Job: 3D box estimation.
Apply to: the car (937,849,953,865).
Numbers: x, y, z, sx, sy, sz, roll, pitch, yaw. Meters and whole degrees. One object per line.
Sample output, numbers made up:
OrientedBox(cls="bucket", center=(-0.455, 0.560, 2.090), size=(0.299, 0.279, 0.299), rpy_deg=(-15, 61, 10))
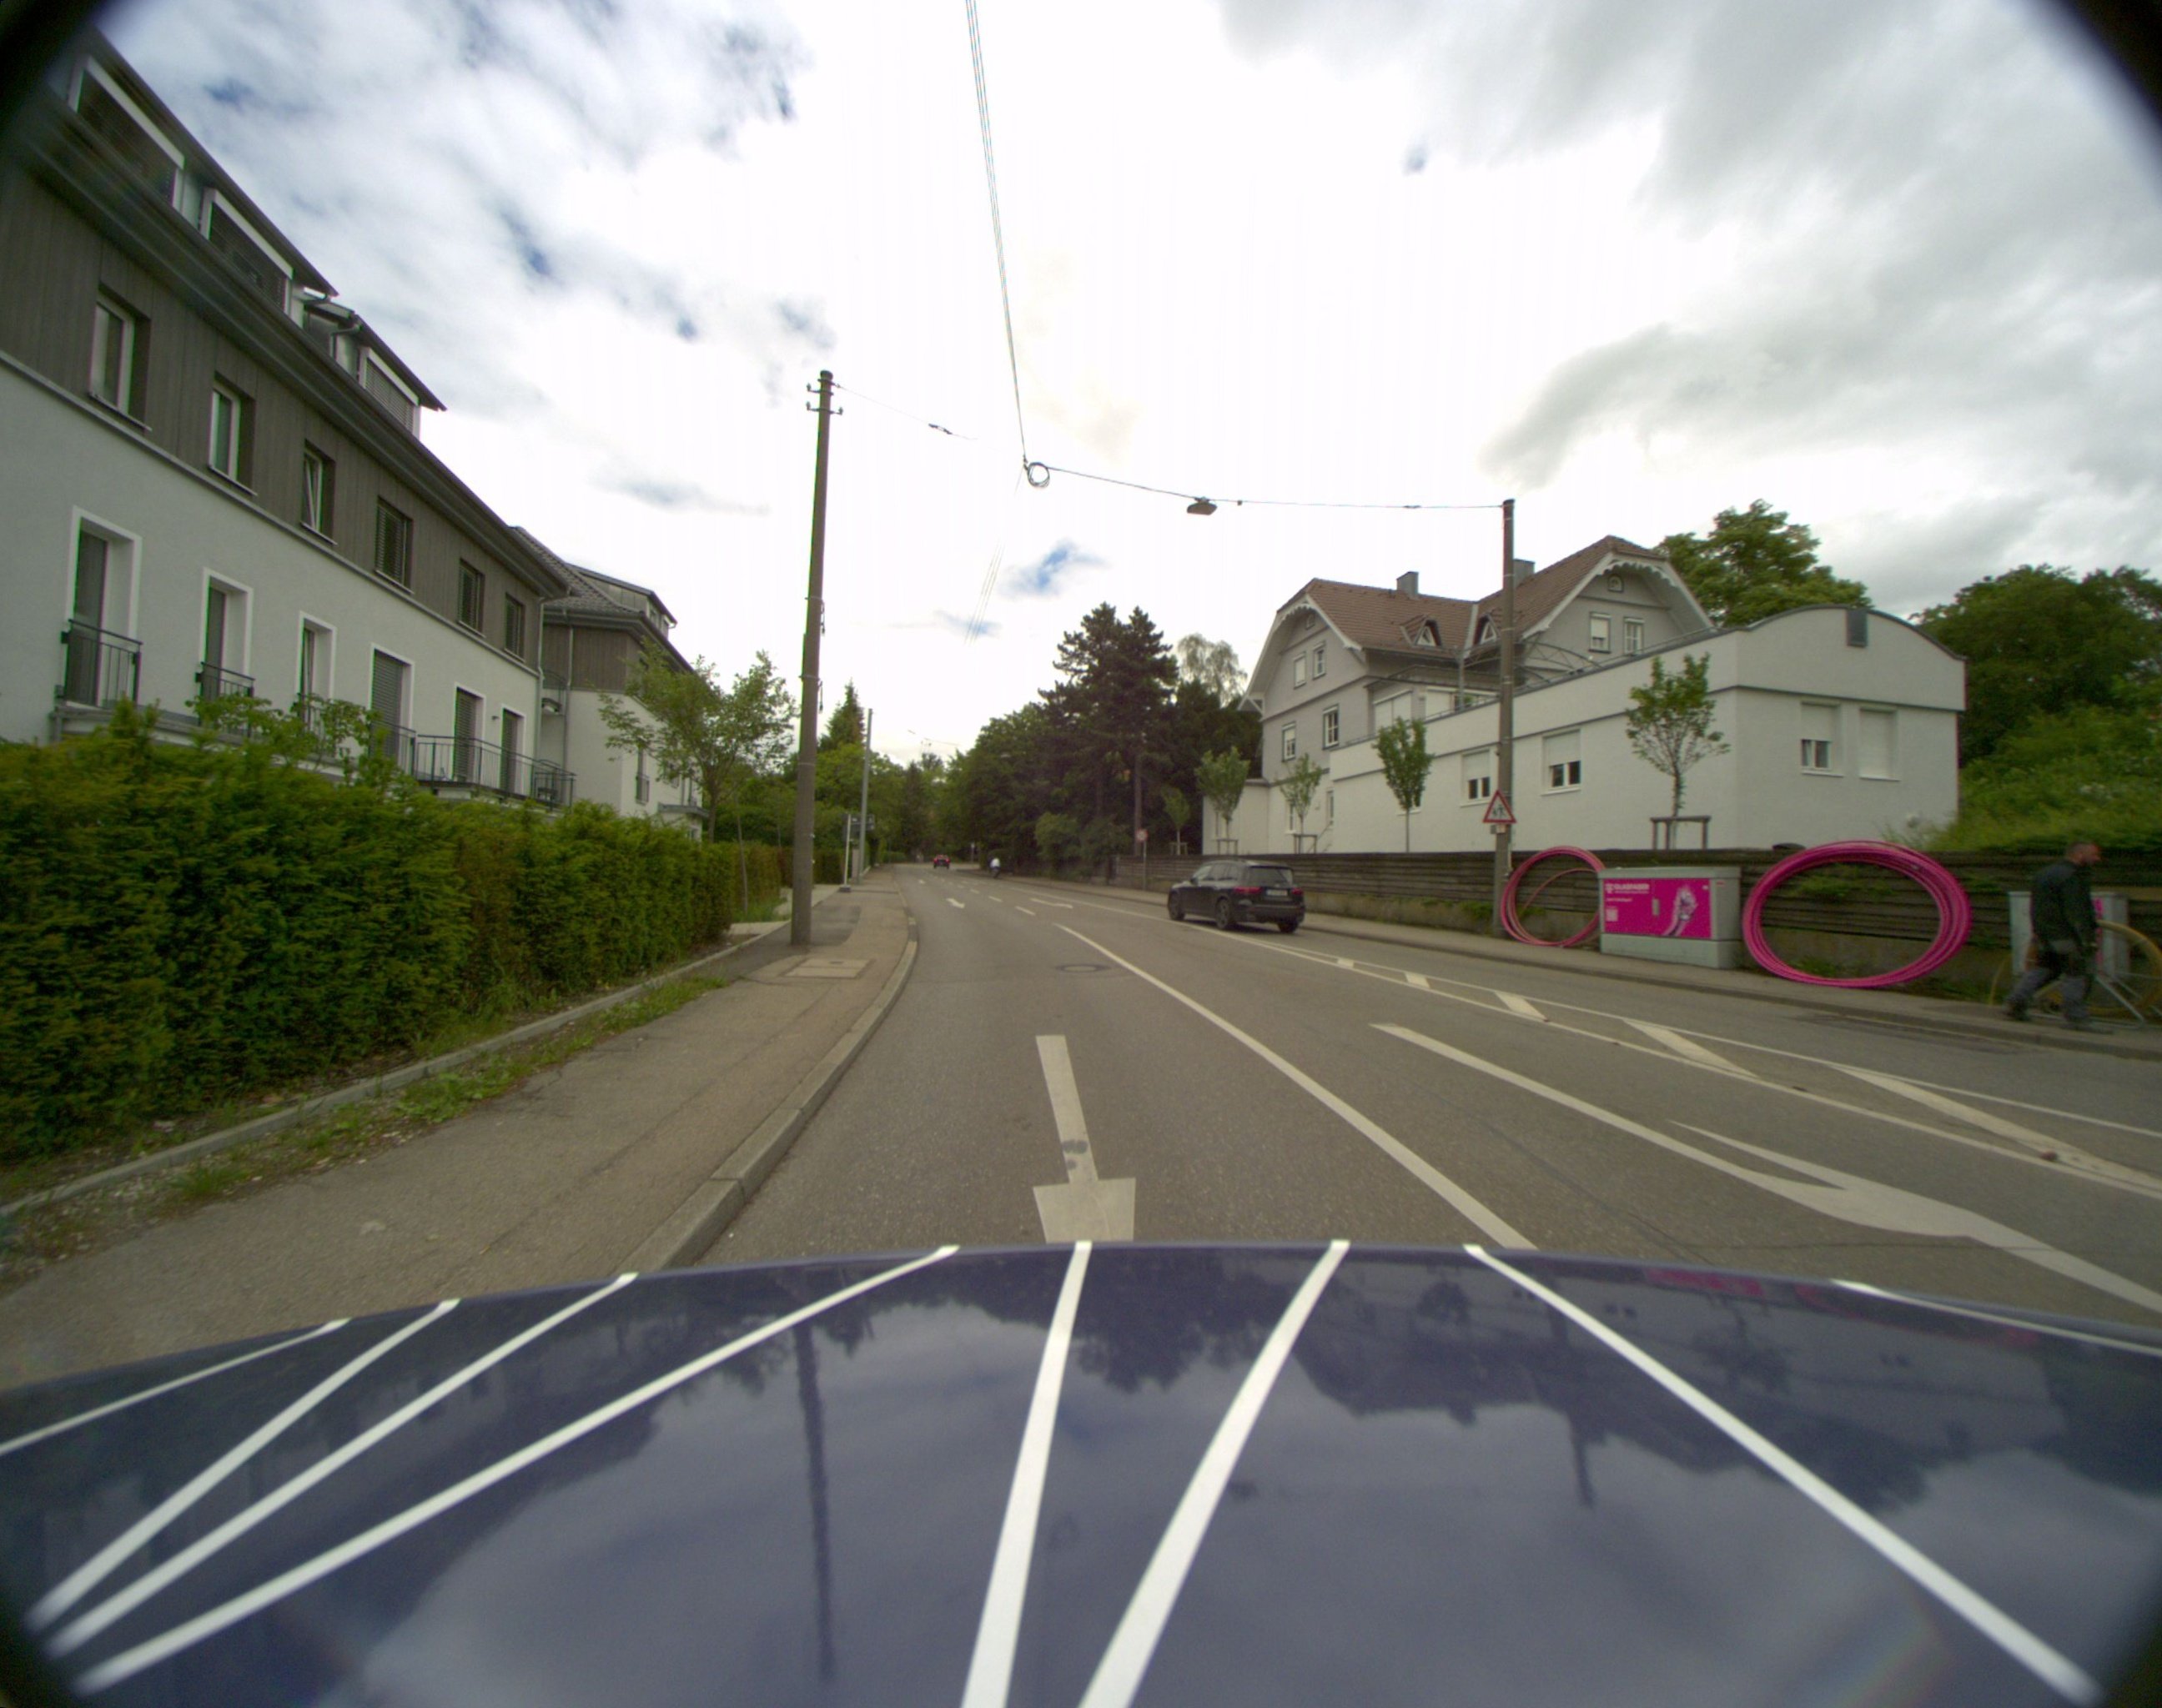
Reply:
OrientedBox(cls="car", center=(-16.788, 0.338, 93.660), size=(1.838, 1.621, 4.276), rpy_deg=(5, 2, -11))

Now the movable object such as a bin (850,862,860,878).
OrientedBox(cls="movable object such as a bin", center=(-13.468, 0.945, 45.271), size=(0.467, 0.932, 0.603), rpy_deg=(1, 0, -25))

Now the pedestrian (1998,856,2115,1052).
OrientedBox(cls="pedestrian", center=(9.690, 0.940, 7.576), size=(0.754, 1.826, 0.613), rpy_deg=(1, 0, -43))

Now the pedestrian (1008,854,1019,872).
OrientedBox(cls="pedestrian", center=(-6.275, 0.800, 70.500), size=(0.631, 1.652, 0.917), rpy_deg=(1, 1, -28))

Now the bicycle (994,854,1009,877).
OrientedBox(cls="bicycle", center=(-6.281, 0.902, 59.801), size=(0.762, 1.734, 1.868), rpy_deg=(3, 0, -15))

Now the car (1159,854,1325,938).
OrientedBox(cls="car", center=(3.774, 0.941, 18.777), size=(2.002, 1.787, 4.513), rpy_deg=(3, -1, -17))
